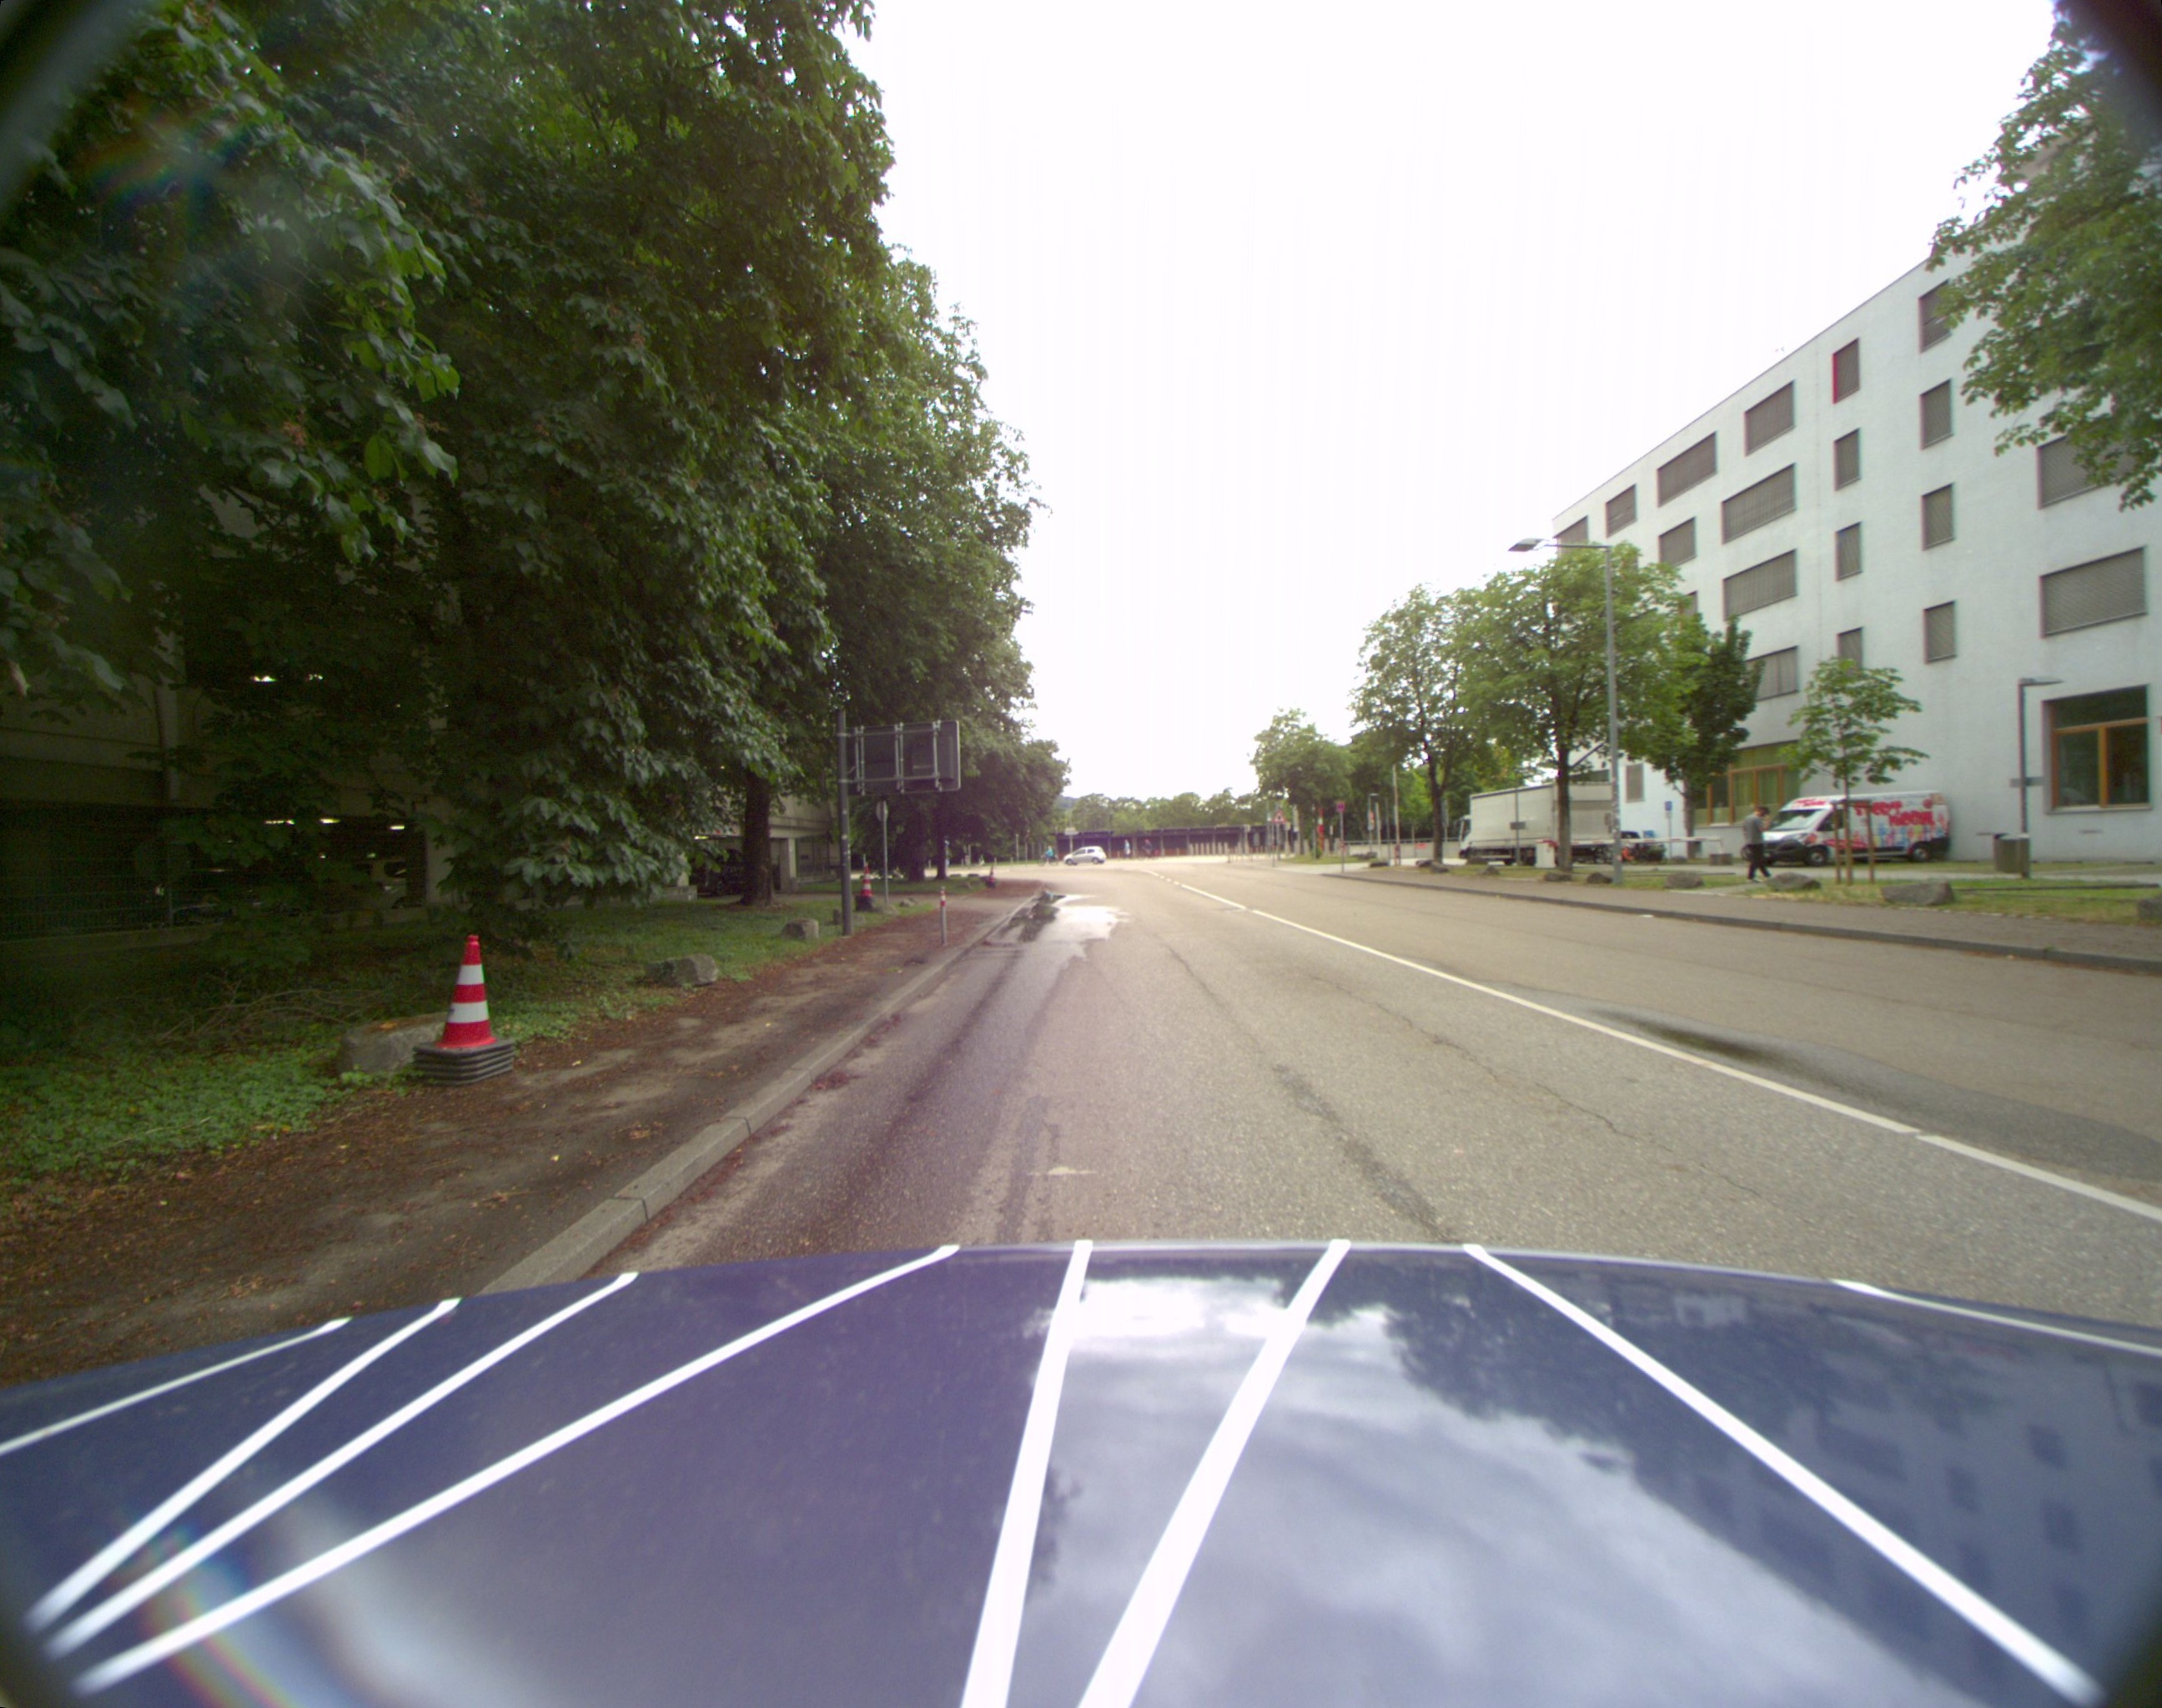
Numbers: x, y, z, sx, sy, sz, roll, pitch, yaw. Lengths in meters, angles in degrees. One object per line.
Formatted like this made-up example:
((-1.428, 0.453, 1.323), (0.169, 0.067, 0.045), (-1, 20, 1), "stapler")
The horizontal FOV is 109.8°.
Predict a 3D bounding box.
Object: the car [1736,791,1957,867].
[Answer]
((26.602, -0.874, 26.551), (5.640, 2.266, 2.078), (-3, 2, 0), "car")

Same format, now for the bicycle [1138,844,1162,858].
((6.197, -0.237, 68.287), (2.050, 1.137, 0.777), (-3, 3, -1), "bicycle")

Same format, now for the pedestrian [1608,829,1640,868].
((23.189, -0.249, 32.464), (0.679, 1.597, 0.887), (-3, 2, -7), "pedestrian")

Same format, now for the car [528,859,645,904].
((-20.010, 1.067, 30.987), (1.876, 1.445, 4.000), (-3, 2, 4), "car")

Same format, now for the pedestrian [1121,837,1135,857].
((4.484, -0.659, 72.847), (1.200, 1.824, 0.927), (-3, 3, 4), "pedestrian")

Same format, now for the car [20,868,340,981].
((-17.476, 1.259, 15.087), (1.589, 1.699, 3.856), (-3, 2, 1), "car")

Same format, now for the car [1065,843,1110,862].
((0.572, -0.106, 65.105), (3.496, 1.448, 1.609), (-2, 2, 19), "car")

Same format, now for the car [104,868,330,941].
((-22.870, 1.258, 20.365), (1.721, 1.537, 3.700), (-3, 2, -1), "car")

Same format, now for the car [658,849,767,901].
((-14.658, 0.752, 30.574), (1.924, 1.824, 4.735), (-3, 1, 0), "car")

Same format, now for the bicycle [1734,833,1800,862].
((27.617, -0.270, 30.589), (2.029, 1.064, 0.613), (-3, 2, 4), "bicycle")

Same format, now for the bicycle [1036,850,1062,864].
((-2.902, 0.225, 68.355), (2.257, 1.117, 0.748), (-3, 2, -3), "bicycle")

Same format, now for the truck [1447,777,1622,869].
((20.360, -1.351, 34.865), (2.684, 3.580, 8.361), (-3, 2, -2), "truck")

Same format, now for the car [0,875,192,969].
((-20.374, 1.315, 14.770), (1.721, 1.537, 3.700), (-3, 2, -1), "car")

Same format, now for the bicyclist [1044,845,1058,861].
((-2.734, -0.083, 68.355), (1.159, 1.422, 0.742), (-3, 2, -3), "bicyclist")

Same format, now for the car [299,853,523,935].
((-17.251, 0.928, 19.953), (1.589, 1.699, 4.666), (-3, 2, 1), "car")

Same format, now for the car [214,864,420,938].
((-20.266, 1.163, 20.415), (1.721, 1.577, 3.690), (-3, 2, -1), "car")

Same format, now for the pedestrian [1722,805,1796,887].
((14.388, -0.174, 16.136), (0.846, 1.662, 0.786), (-3, 2, -7), "pedestrian")

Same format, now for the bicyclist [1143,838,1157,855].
((6.169, -0.698, 68.267), (1.101, 1.487, 0.927), (-3, 3, -1), "bicyclist")
